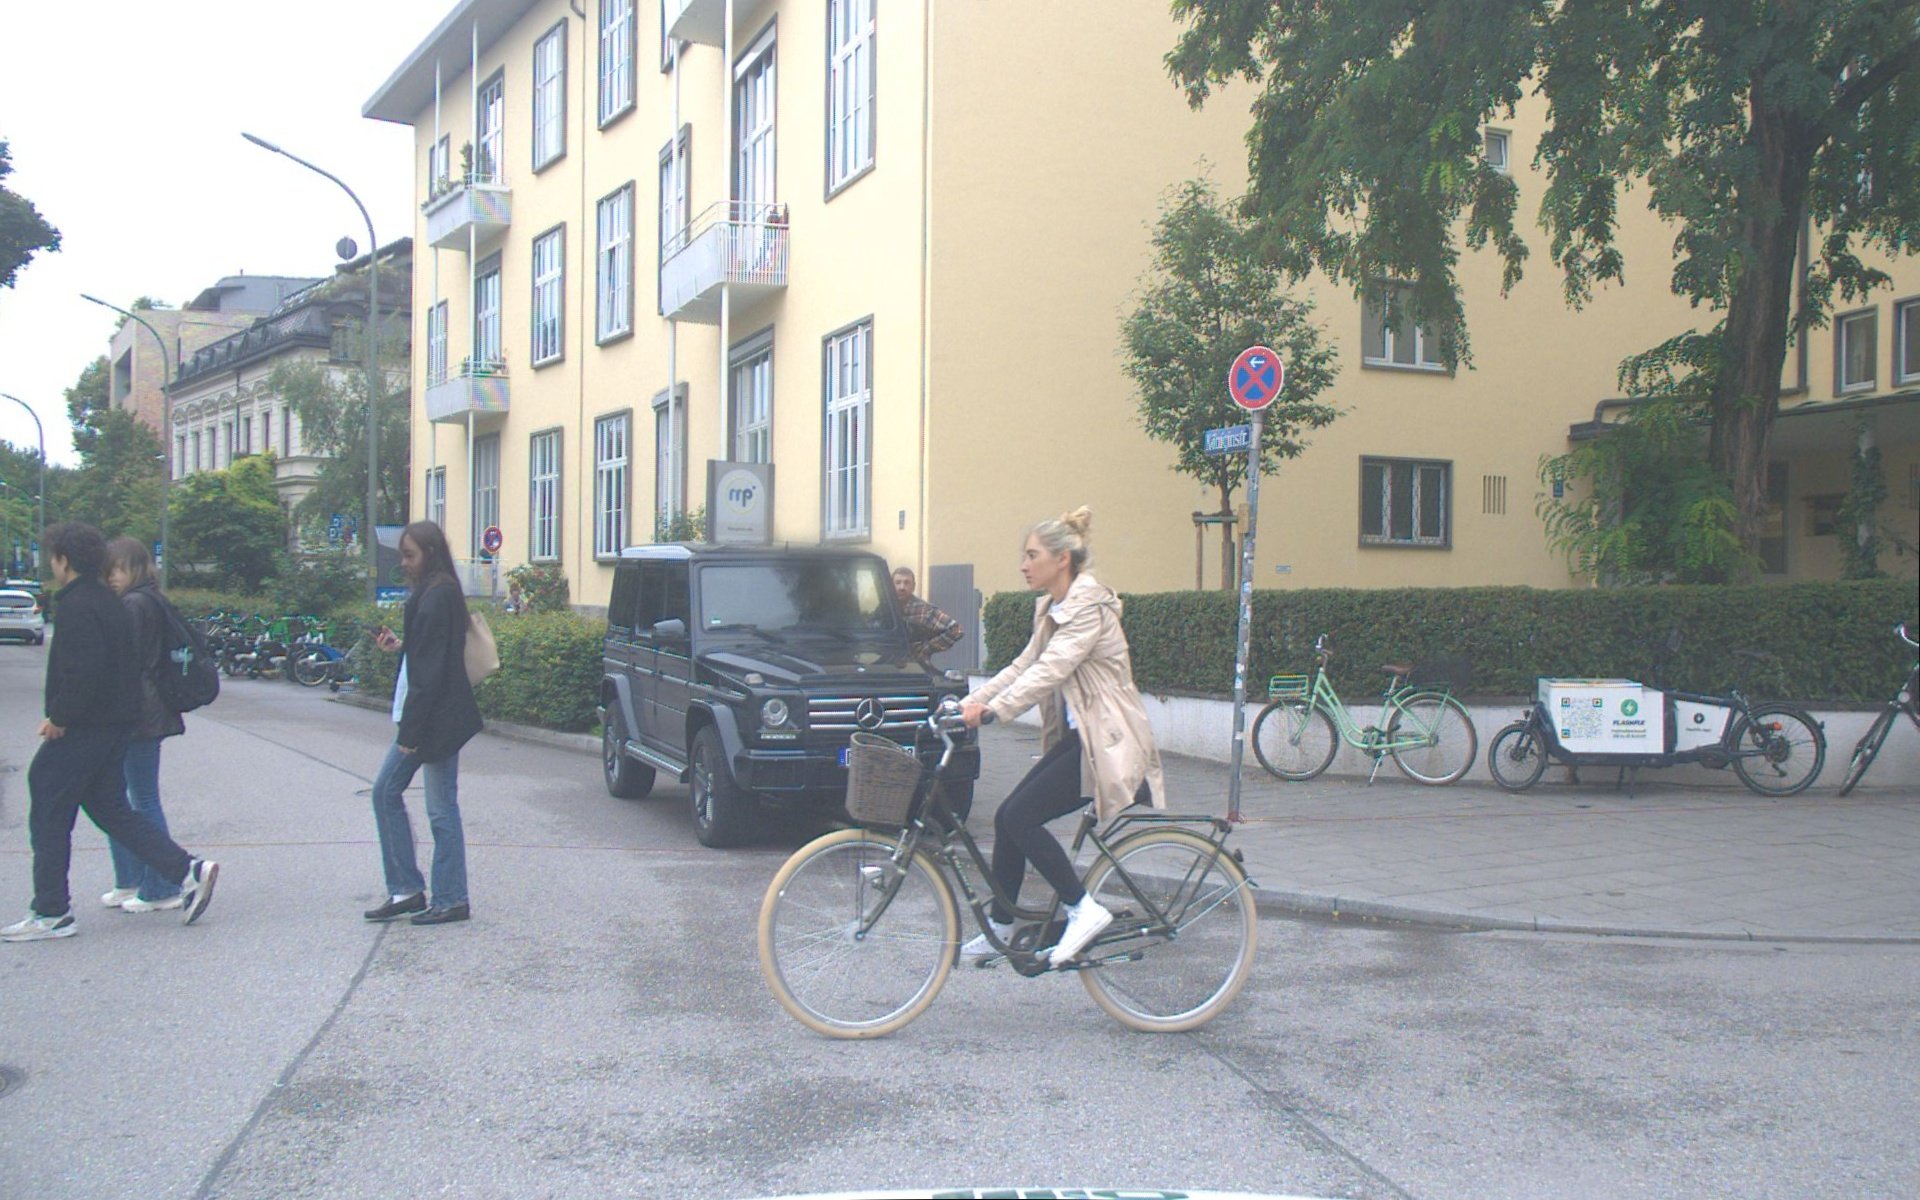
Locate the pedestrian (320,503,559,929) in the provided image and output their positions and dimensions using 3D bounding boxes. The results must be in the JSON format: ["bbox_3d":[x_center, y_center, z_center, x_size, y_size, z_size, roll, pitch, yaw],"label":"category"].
[{"bbox_3d":[-2.422,0.518,7.780,0.832,1.890,0.767,-1,0,2],"label":"pedestrian"}]

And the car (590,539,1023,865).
[{"bbox_3d":[-1.359,0.587,12.254,1.849,1.920,4.584,0,0,-24],"label":"car"}]

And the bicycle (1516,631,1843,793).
[{"bbox_3d":[5.261,0.804,12.190,2.122,1.135,0.641,0,0,5],"label":"bicycle"}]

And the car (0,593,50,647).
[{"bbox_3d":[-26.498,0.532,46.076,1.732,1.431,3.684,0,0,-33],"label":"car"}]

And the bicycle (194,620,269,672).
[{"bbox_3d":[-15.267,0.955,34.686,0.400,1.032,1.536,-1,1,25],"label":"bicycle"}]

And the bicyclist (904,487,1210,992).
[{"bbox_3d":[0.322,0.463,5.932,0.984,1.685,0.695,0,0,-8],"label":"bicyclist"}]

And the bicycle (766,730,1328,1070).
[{"bbox_3d":[0.275,1.026,5.919,1.923,1.042,0.683,0,0,-8],"label":"bicycle"}]

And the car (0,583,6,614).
[{"bbox_3d":[-53.182,-0.082,89.846,1.978,1.628,4.200,0,0,-36],"label":"car"}]

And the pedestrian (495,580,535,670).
[{"bbox_3d":[-8.717,0.478,32.358,0.623,1.713,0.692,-1,0,-26],"label":"pedestrian"}]

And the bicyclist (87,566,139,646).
[{"bbox_3d":[-19.369,0.129,37.826,0.907,1.795,1.200,0,0,-36],"label":"bicyclist"}]

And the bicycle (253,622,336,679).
[{"bbox_3d":[-12.765,0.960,31.765,0.359,1.032,1.533,0,1,34],"label":"bicycle"}]

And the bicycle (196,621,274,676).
[{"bbox_3d":[-14.475,0.960,33.041,0.400,1.032,1.536,-1,1,25],"label":"bicycle"}]

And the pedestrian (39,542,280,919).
[{"bbox_3d":[-3.945,0.614,8.200,0.809,1.776,0.741,0,0,4],"label":"pedestrian"}]

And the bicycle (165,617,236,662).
[{"bbox_3d":[-18.387,0.942,40.054,0.401,1.032,1.530,0,1,38],"label":"bicycle"}]

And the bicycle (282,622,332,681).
[{"bbox_3d":[-12.151,0.942,30.799,0.358,1.032,1.537,-1,1,-2],"label":"bicycle"}]

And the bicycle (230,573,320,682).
[{"bbox_3d":[-13.216,0.507,31.958,0.447,2.049,1.674,0,1,29],"label":"bicycle"}]

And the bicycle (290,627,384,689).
[{"bbox_3d":[-11.012,1.013,29.255,1.521,1.032,0.362,-1,1,-37],"label":"bicycle"}]

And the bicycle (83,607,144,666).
[{"bbox_3d":[-19.347,0.815,37.779,0.913,1.274,2.292,0,0,-36],"label":"bicycle"}]

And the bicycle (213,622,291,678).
[{"bbox_3d":[-14.037,0.984,32.815,0.400,1.032,1.536,-1,1,25],"label":"bicycle"}]

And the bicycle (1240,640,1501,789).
[{"bbox_3d":[3.219,0.886,13.056,1.908,1.104,0.527,-2,-2,32],"label":"bicycle"}]

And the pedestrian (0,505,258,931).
[{"bbox_3d":[-3.805,0.510,7.481,0.969,1.841,0.660,0,0,2],"label":"pedestrian"}]

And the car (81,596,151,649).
[{"bbox_3d":[-26.668,0.675,52.201,1.632,1.585,3.519,0,0,-33],"label":"car"}]

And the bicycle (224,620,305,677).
[{"bbox_3d":[-13.641,0.937,32.454,0.400,1.032,1.535,-1,1,29],"label":"bicycle"}]

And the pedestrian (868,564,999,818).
[{"bbox_3d":[-0.211,0.636,12.228,0.833,1.788,0.951,0,0,-9],"label":"pedestrian"}]

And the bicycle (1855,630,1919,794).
[{"bbox_3d":[7.444,0.797,12.129,1.652,1.150,0.459,0,0,-12],"label":"bicycle"}]
